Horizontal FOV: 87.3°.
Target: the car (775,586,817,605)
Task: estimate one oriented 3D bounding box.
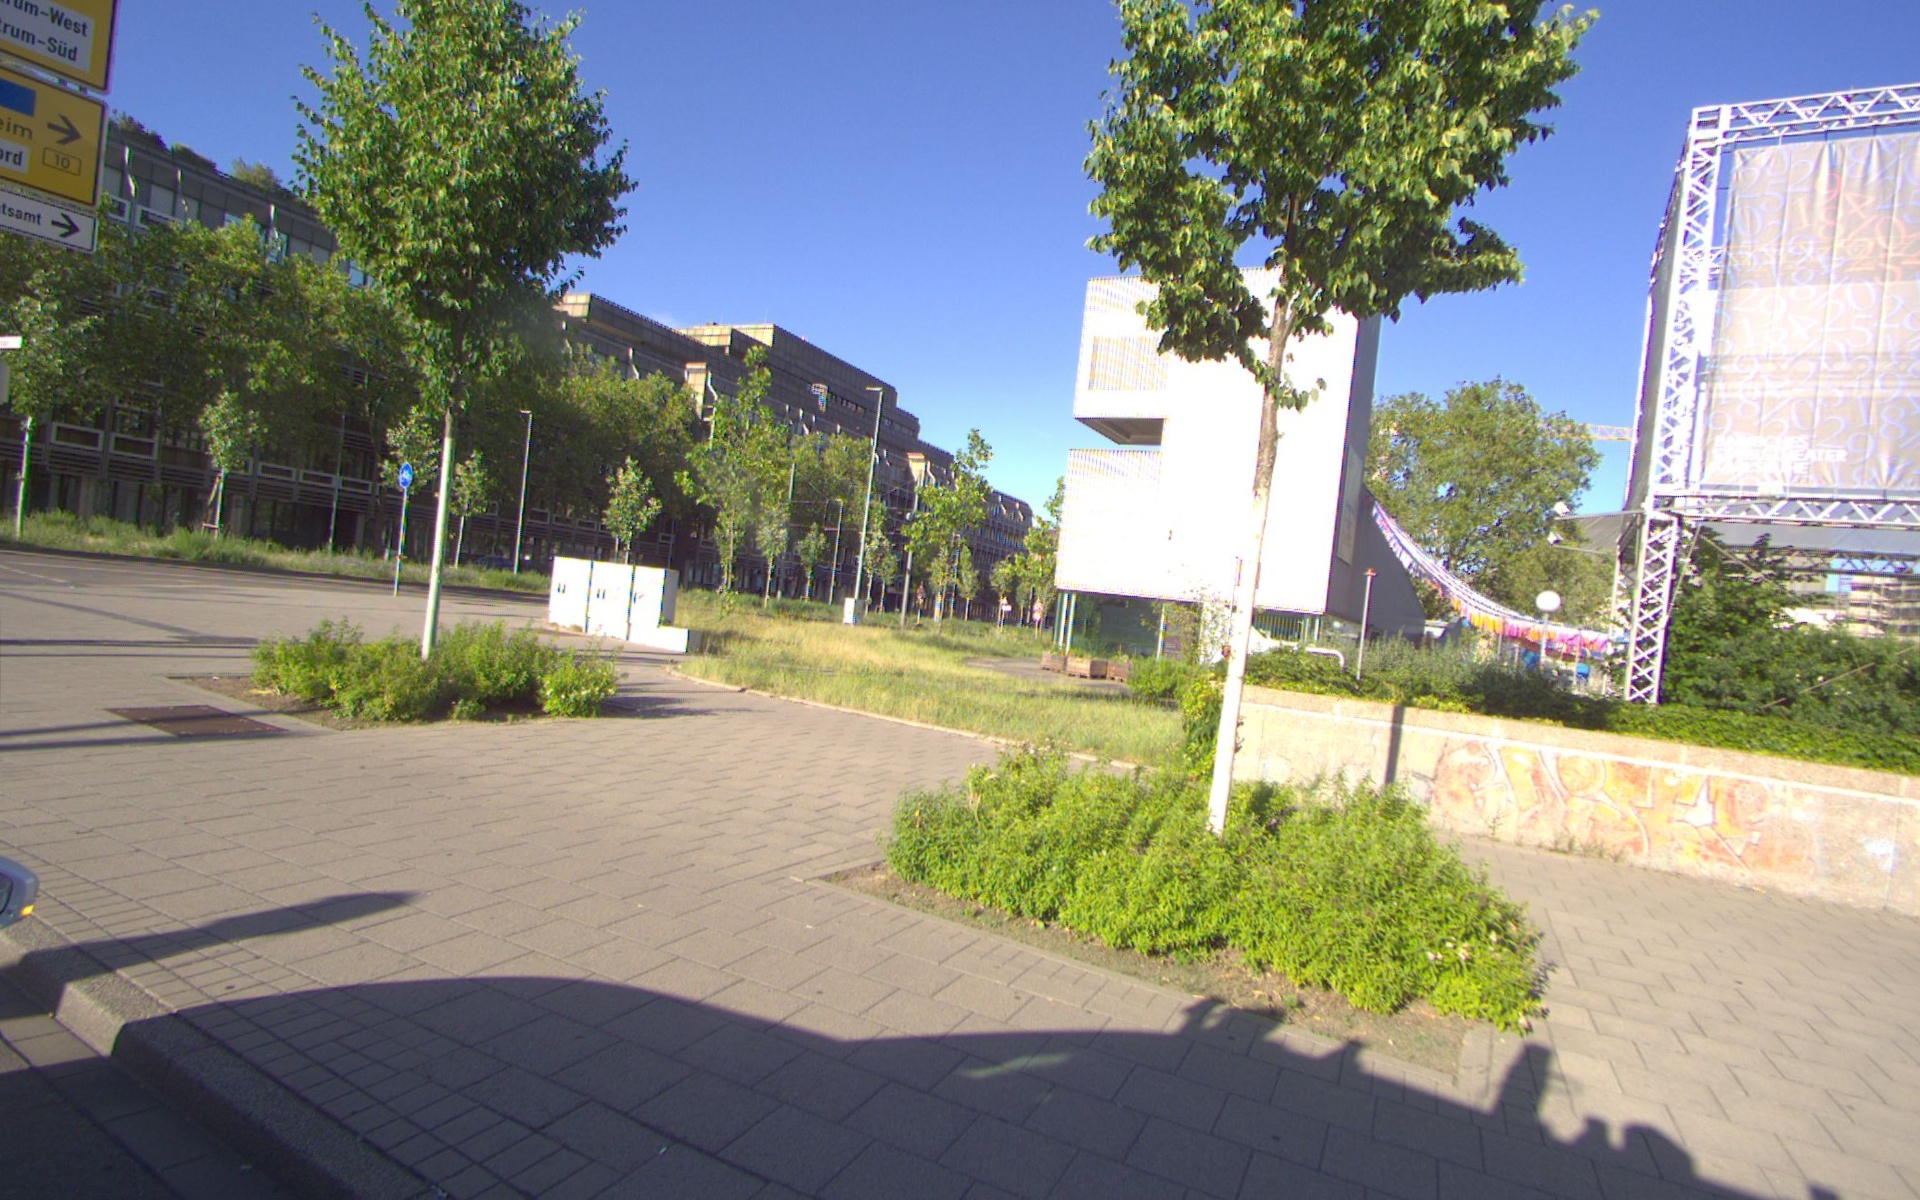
[{"bbox_3d":[-14.198,-0.383,87.456,1.605,1.359,3.994,6,1,23],"label":"car"}]
